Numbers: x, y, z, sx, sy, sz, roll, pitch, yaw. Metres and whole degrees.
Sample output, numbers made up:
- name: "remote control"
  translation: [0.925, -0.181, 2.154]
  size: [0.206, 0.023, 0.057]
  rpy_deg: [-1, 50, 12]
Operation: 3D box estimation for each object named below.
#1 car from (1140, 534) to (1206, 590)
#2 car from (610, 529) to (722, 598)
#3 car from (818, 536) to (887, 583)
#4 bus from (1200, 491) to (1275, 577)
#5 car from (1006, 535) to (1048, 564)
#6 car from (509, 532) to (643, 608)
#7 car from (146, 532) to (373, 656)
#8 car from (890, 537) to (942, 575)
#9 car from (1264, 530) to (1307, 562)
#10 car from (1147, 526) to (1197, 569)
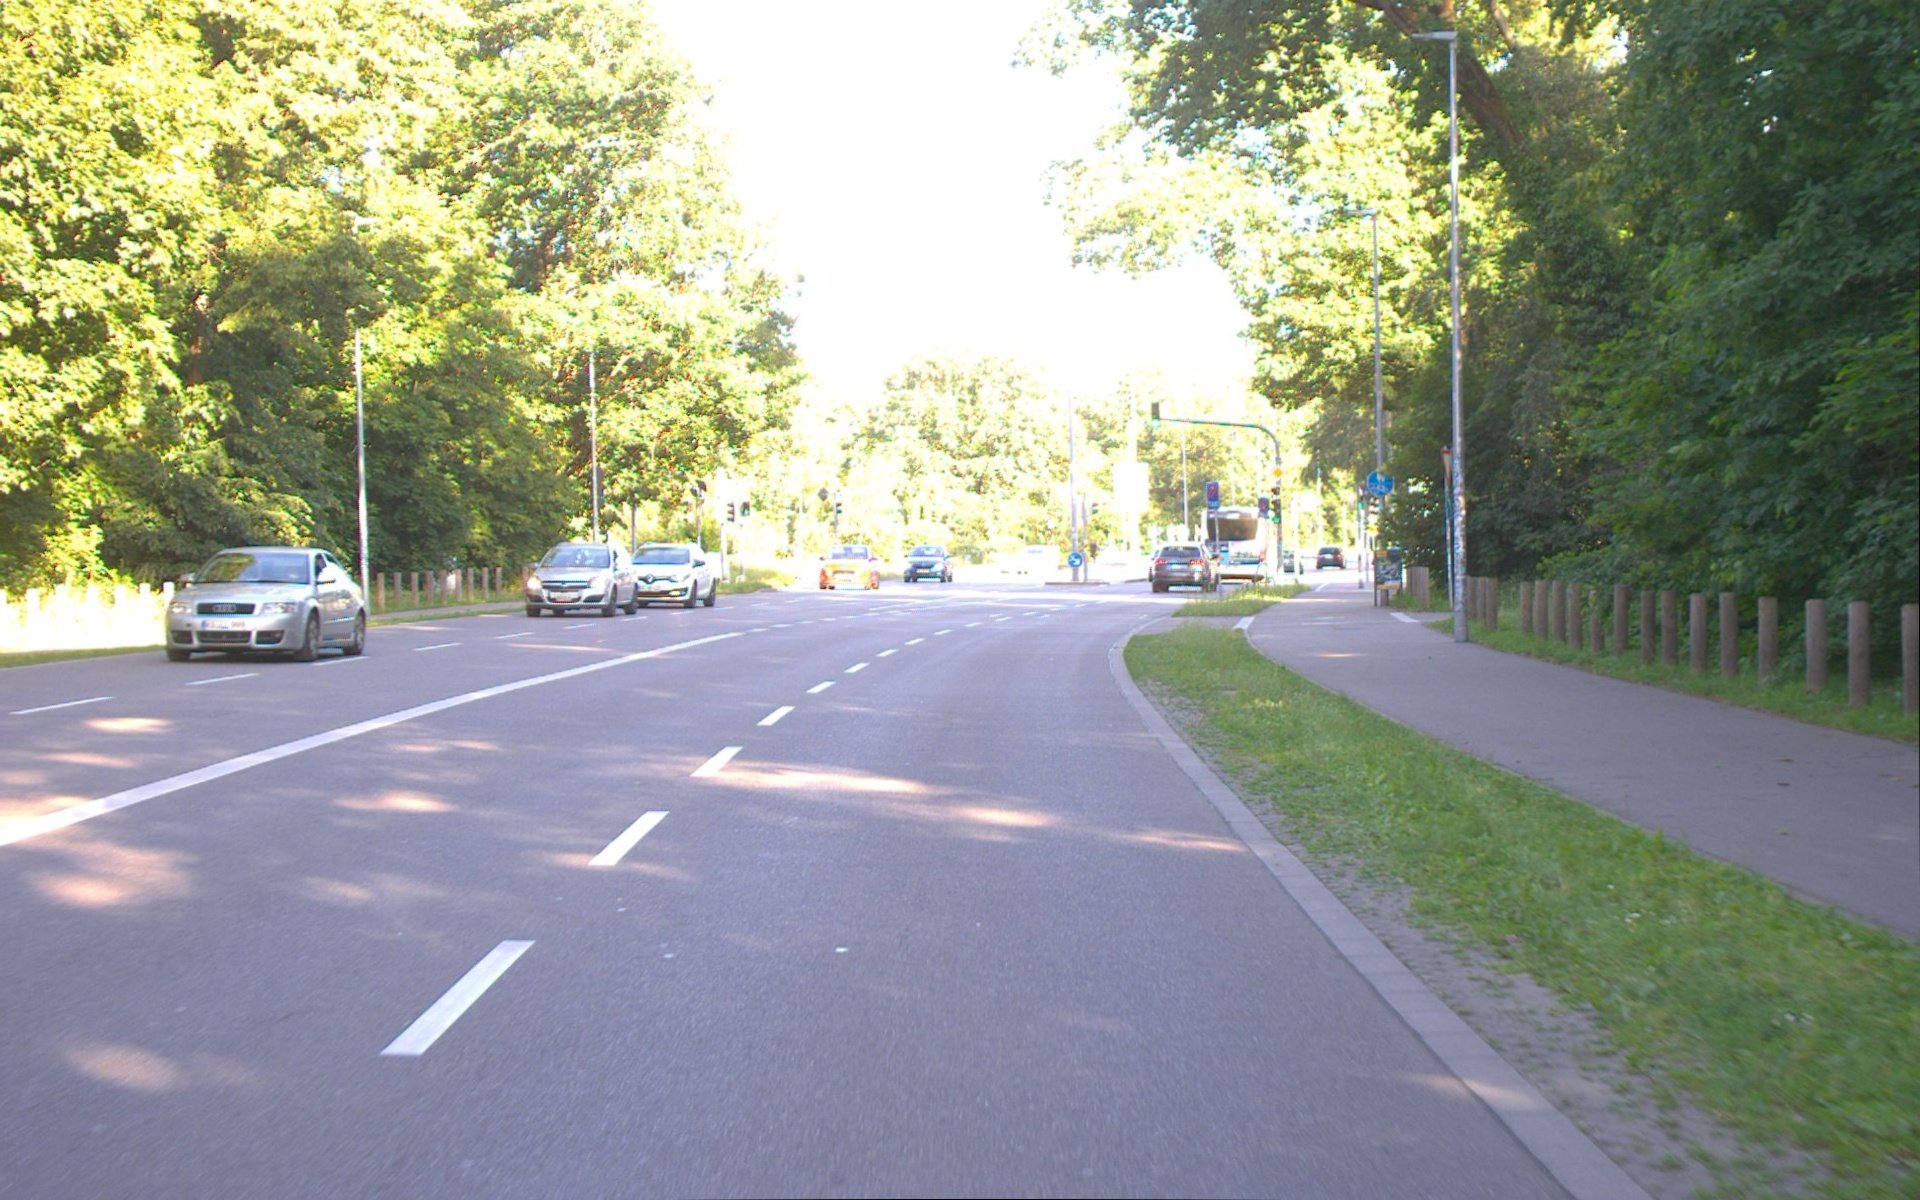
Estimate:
- name: "car"
  translation: [7.035, -1.266, 113.231]
  size: [1.881, 1.759, 3.999]
  rpy_deg: [-1, 1, 7]
- name: "car"
  translation: [-6.661, -0.859, 78.202]
  size: [1.783, 1.517, 4.397]
  rpy_deg: [0, 1, 5]
- name: "car"
  translation: [-3.528, -1.331, 112.980]
  size: [1.663, 1.513, 3.806]
  rpy_deg: [0, 1, 7]
- name: "bus"
  translation: [11.151, -2.652, 137.680]
  size: [2.606, 3.357, 7.973]
  rpy_deg: [0, 1, 7]
- name: "car"
  translation: [3.457, -2.598, 177.350]
  size: [1.711, 1.459, 4.099]
  rpy_deg: [1, 1, 7]
- name: "car"
  translation: [-7.584, -0.605, 68.256]
  size: [1.780, 1.459, 4.273]
  rpy_deg: [0, 1, 6]
- name: "car"
  translation: [-8.523, -0.110, 42.192]
  size: [1.779, 1.403, 4.165]
  rpy_deg: [0, 2, 2]
- name: "car"
  translation: [-1.759, -1.774, 138.025]
  size: [1.656, 1.503, 3.999]
  rpy_deg: [-1, 1, 5]
- name: "car"
  translation: [17.398, -2.898, 183.787]
  size: [1.864, 1.678, 3.771]
  rpy_deg: [-1, 1, 11]
- name: "car"
  translation: [9.028, -2.251, 146.170]
  size: [1.881, 1.759, 3.999]
  rpy_deg: [-1, 1, 7]
